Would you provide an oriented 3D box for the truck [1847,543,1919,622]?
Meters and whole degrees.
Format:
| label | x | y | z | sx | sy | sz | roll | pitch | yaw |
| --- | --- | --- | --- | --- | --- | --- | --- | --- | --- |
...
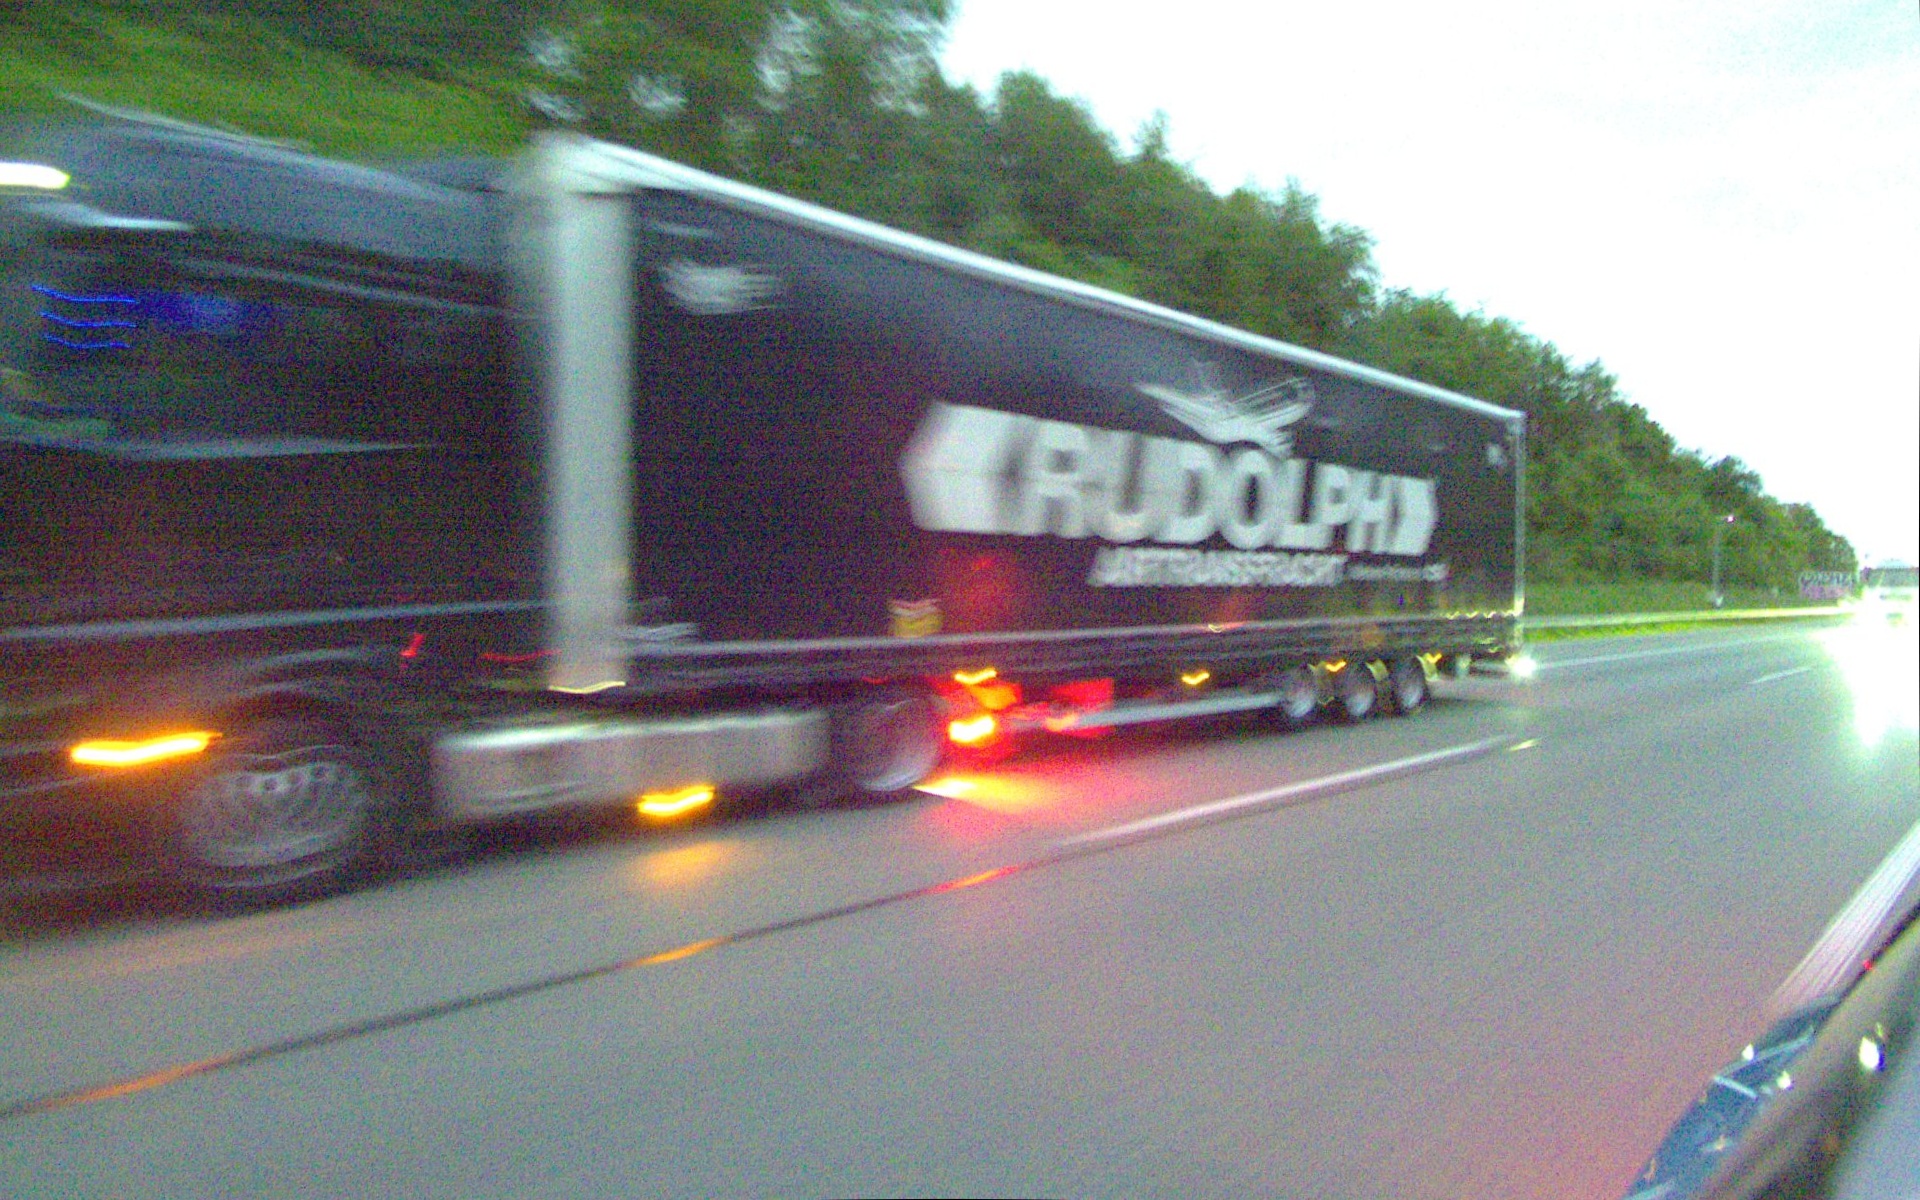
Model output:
| label | x | y | z | sx | sy | sz | roll | pitch | yaw |
| --- | --- | --- | --- | --- | --- | --- | --- | --- | --- |
| truck | 53.482 | -0.910 | 56.739 | 13.290 | 4.018 | 3.341 | 0 | 0 | -38 |

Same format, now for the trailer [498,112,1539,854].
| label | x | y | z | sx | sy | sz | roll | pitch | yaw |
| --- | --- | --- | --- | --- | --- | --- | --- | --- | --- |
| trailer | 2.385 | -0.659 | 10.930 | 13.268 | 4.124 | 2.487 | 0 | 0 | -41 |

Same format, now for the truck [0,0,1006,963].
| label | x | y | z | sx | sy | sz | roll | pitch | yaw |
| --- | --- | --- | --- | --- | --- | --- | --- | --- | --- |
| truck | -2.546 | -0.595 | 6.687 | 5.492 | 4.018 | 2.496 | 0 | 0 | -41 |
